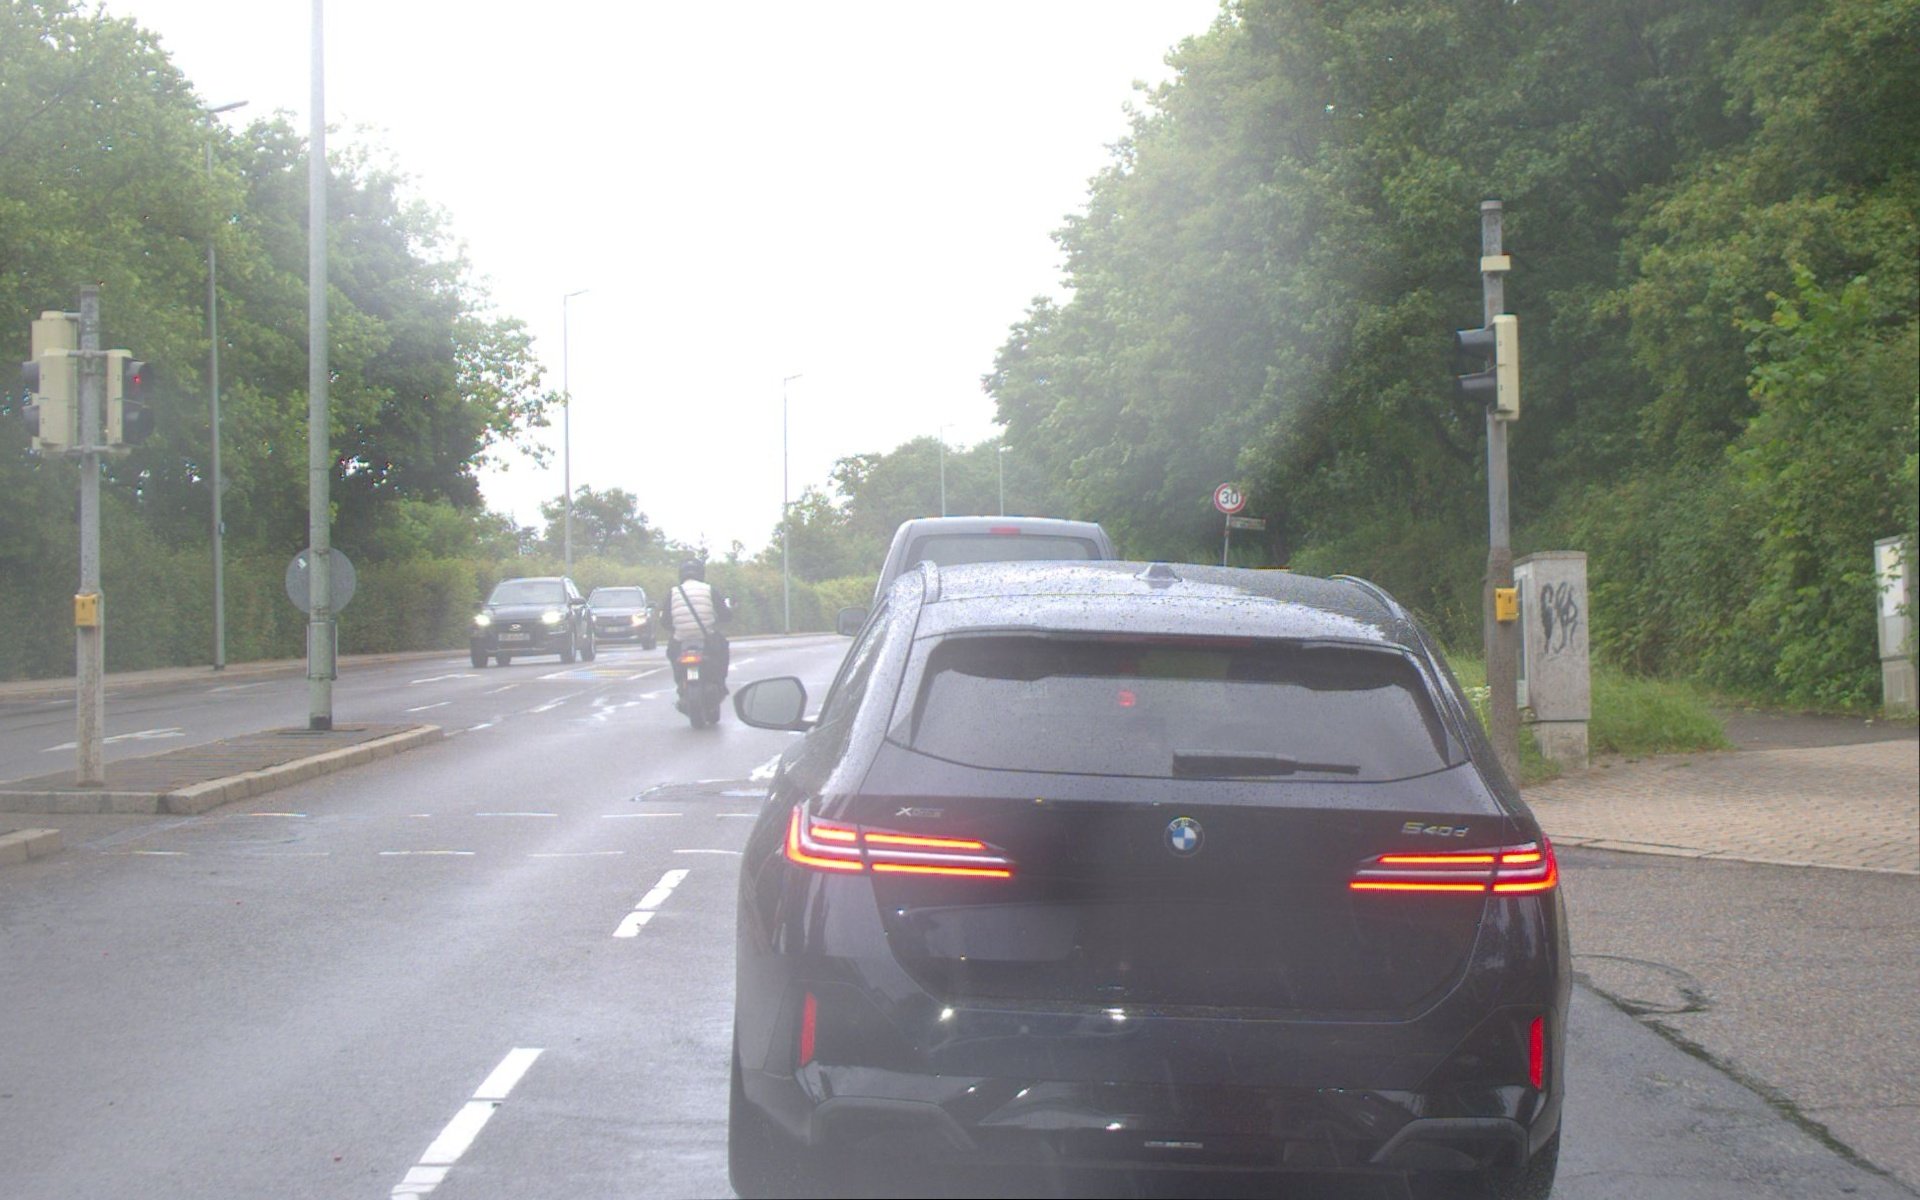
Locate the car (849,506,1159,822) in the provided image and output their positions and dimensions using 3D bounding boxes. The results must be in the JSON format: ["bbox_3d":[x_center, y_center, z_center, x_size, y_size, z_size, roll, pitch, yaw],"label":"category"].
[{"bbox_3d":[0.280,0.315,21.583,1.767,1.804,3.905,0,1,1],"label":"car"}]

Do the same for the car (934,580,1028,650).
[{"bbox_3d":[0.444,0.314,76.253,2.015,1.410,4.487,0,2,0],"label":"car"}]

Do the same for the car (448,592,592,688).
[{"bbox_3d":[-7.816,0.690,61.368,2.025,1.558,3.877,-2,0,0],"label":"car"}]

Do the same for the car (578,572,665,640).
[{"bbox_3d":[-8.399,0.138,85.537,1.795,1.597,3.732,-2,0,-1],"label":"car"}]

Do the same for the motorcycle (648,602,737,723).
[{"bbox_3d":[-2.599,0.595,33.521,0.741,1.115,1.426,0,1,1],"label":"motorcycle"}]

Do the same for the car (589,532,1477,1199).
[{"bbox_3d":[0.168,0.613,8.676,1.764,1.531,3.673,0,1,1],"label":"car"}]

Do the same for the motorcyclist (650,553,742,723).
[{"bbox_3d":[-2.576,0.366,33.558,0.845,1.641,0.468,0,1,1],"label":"motorcyclist"}]
